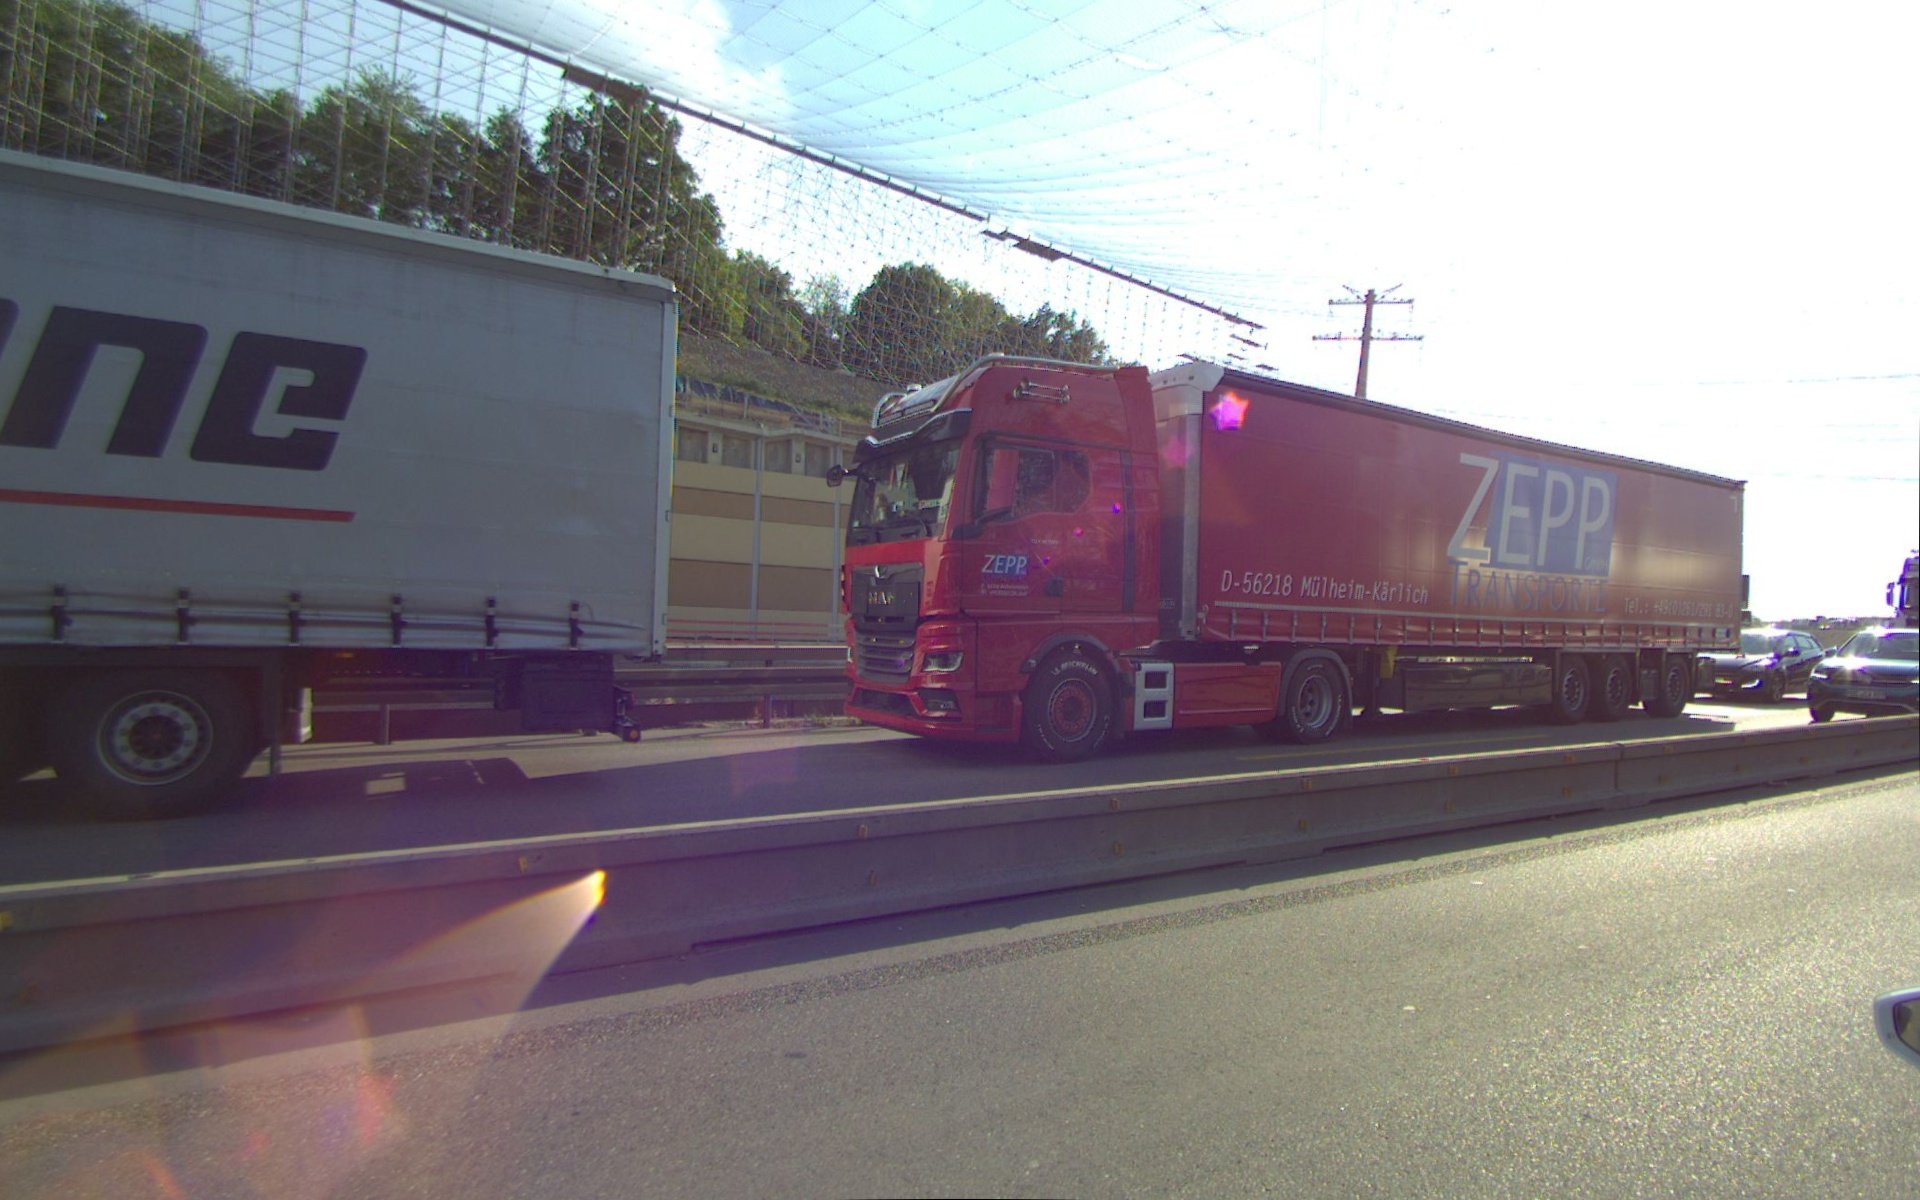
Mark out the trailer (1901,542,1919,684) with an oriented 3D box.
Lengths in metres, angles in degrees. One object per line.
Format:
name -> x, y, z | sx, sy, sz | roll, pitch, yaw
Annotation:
trailer -> 35.248, 0.579, 33.580 | 13.779, 4.290, 2.636 | 2, 1, -35

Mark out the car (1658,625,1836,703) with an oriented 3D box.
car -> 16.887, 1.326, 21.514 | 4.092, 1.467, 1.712 | 2, 0, -32

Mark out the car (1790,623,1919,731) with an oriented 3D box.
car -> 15.829, 1.234, 16.856 | 4.222, 1.555, 1.732 | 2, 0, -33

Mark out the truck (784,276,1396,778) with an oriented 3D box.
truck -> 1.673, -0.502, 11.369 | 6.608, 4.196, 2.771 | 2, -1, -33

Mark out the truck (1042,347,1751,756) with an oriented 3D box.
truck -> 7.529, -0.271, 15.221 | 13.661, 4.196, 2.771 | 2, -1, -33

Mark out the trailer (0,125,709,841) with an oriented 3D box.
trailer -> -8.692, -0.779, 5.715 | 13.802, 4.196, 2.786 | 2, -1, -30

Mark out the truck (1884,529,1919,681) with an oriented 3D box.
truck -> 29.949, 0.234, 29.707 | 6.044, 4.286, 2.645 | 2, -1, -35
